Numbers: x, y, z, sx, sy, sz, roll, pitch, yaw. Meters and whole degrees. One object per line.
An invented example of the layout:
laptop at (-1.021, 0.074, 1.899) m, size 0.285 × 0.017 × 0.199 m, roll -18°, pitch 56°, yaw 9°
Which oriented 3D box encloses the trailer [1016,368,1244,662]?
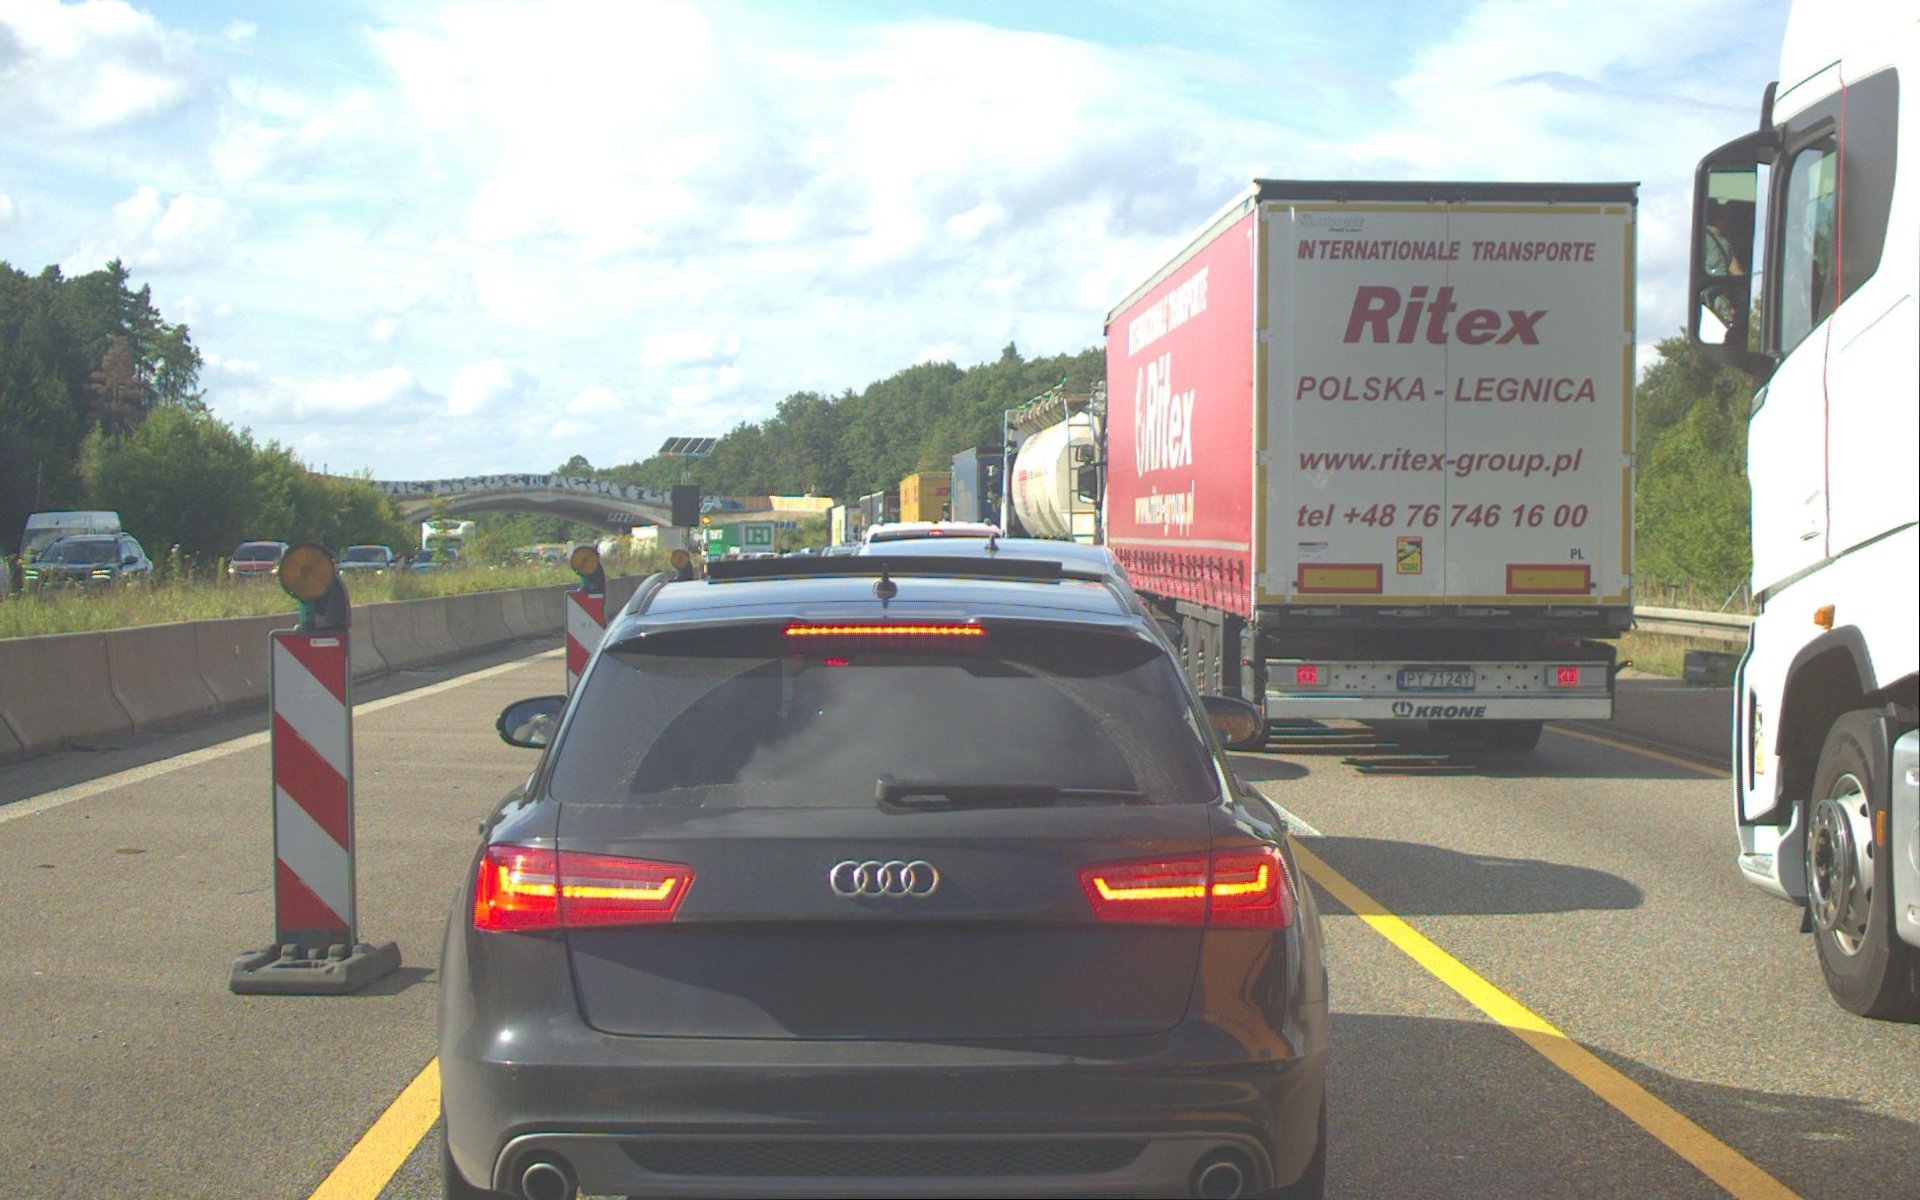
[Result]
trailer at (2.406, -1.244, 52.752) m, size 2.644 × 3.929 × 12.598 m, roll 1°, pitch 1°, yaw -1°

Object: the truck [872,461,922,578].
truck at (-2.784, -3.477, 149.695) m, size 1.993 × 4.897 × 9.563 m, roll 1°, pitch 1°, yaw -2°

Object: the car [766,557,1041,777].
car at (-0.385, 0.419, 24.031) m, size 1.751 × 1.392 × 3.608 m, roll 1°, pitch 0°, yaw -1°

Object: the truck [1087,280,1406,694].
truck at (2.867, -1.133, 35.973) m, size 2.667 × 3.946 × 5.711 m, roll 1°, pitch 1°, yaw -1°

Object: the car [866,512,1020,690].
car at (-0.193, -0.005, 37.453) m, size 1.581 × 1.830 × 3.112 m, roll 1°, pitch 0°, yaw -1°

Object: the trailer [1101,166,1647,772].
trailer at (2.998, -0.968, 29.331) m, size 2.699 × 3.955 × 13.418 m, roll 1°, pitch 1°, yaw -1°

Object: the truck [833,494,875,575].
truck at (-5.628, -3.492, 183.327) m, size 2.137 × 4.242 × 7.072 m, roll 1°, pitch 1°, yaw -1°

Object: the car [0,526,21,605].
car at (-25.461, -0.899, 87.570) m, size 1.993 × 2.007 × 4.000 m, roll 1°, pitch 0°, yaw -1°

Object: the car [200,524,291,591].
car at (-21.997, -1.330, 106.005) m, size 1.993 × 2.007 × 4.000 m, roll 1°, pitch 1°, yaw -1°

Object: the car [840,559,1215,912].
car at (0.260, 0.545, 15.832) m, size 1.524 × 1.434 × 3.285 m, roll 1°, pitch 0°, yaw -1°

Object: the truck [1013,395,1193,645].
truck at (2.328, -1.297, 57.865) m, size 2.659 × 3.958 × 5.779 m, roll 1°, pitch 0°, yaw -1°

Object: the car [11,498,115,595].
car at (-25.377, -1.499, 97.426) m, size 2.250 × 2.634 × 5.021 m, roll 1°, pitch 0°, yaw -8°

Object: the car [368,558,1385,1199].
car at (-0.174, 0.641, 8.278) m, size 1.848 × 1.458 × 4.000 m, roll 0°, pitch 0°, yaw -1°

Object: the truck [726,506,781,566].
truck at (-15.084, -4.629, 250.266) m, size 3.303 × 4.160 × 9.704 m, roll -1°, pitch 0°, yaw -7°

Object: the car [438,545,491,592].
car at (-18.037, -1.144, 125.321) m, size 1.482 × 1.648 × 3.234 m, roll 1°, pitch 0°, yaw -1°

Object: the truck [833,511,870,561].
truck at (-7.887, -4.610, 249.412) m, size 2.566 × 3.455 × 7.399 m, roll 1°, pitch 0°, yaw -2°

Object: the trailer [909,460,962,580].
trailer at (-0.852, -2.666, 116.104) m, size 1.616 × 3.905 × 6.490 m, roll 1°, pitch 0°, yaw -1°

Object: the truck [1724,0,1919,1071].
truck at (4.080, -0.490, 9.404) m, size 2.494 × 3.767 × 5.790 m, roll 1°, pitch 1°, yaw -2°

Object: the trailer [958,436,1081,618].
trailer at (1.448, -1.836, 89.289) m, size 2.805 × 4.398 × 10.433 m, roll 1°, pitch 0°, yaw -1°

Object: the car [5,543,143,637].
car at (-16.669, -0.197, 64.823) m, size 1.715 × 1.700 × 3.523 m, roll 1°, pitch 0°, yaw -1°
